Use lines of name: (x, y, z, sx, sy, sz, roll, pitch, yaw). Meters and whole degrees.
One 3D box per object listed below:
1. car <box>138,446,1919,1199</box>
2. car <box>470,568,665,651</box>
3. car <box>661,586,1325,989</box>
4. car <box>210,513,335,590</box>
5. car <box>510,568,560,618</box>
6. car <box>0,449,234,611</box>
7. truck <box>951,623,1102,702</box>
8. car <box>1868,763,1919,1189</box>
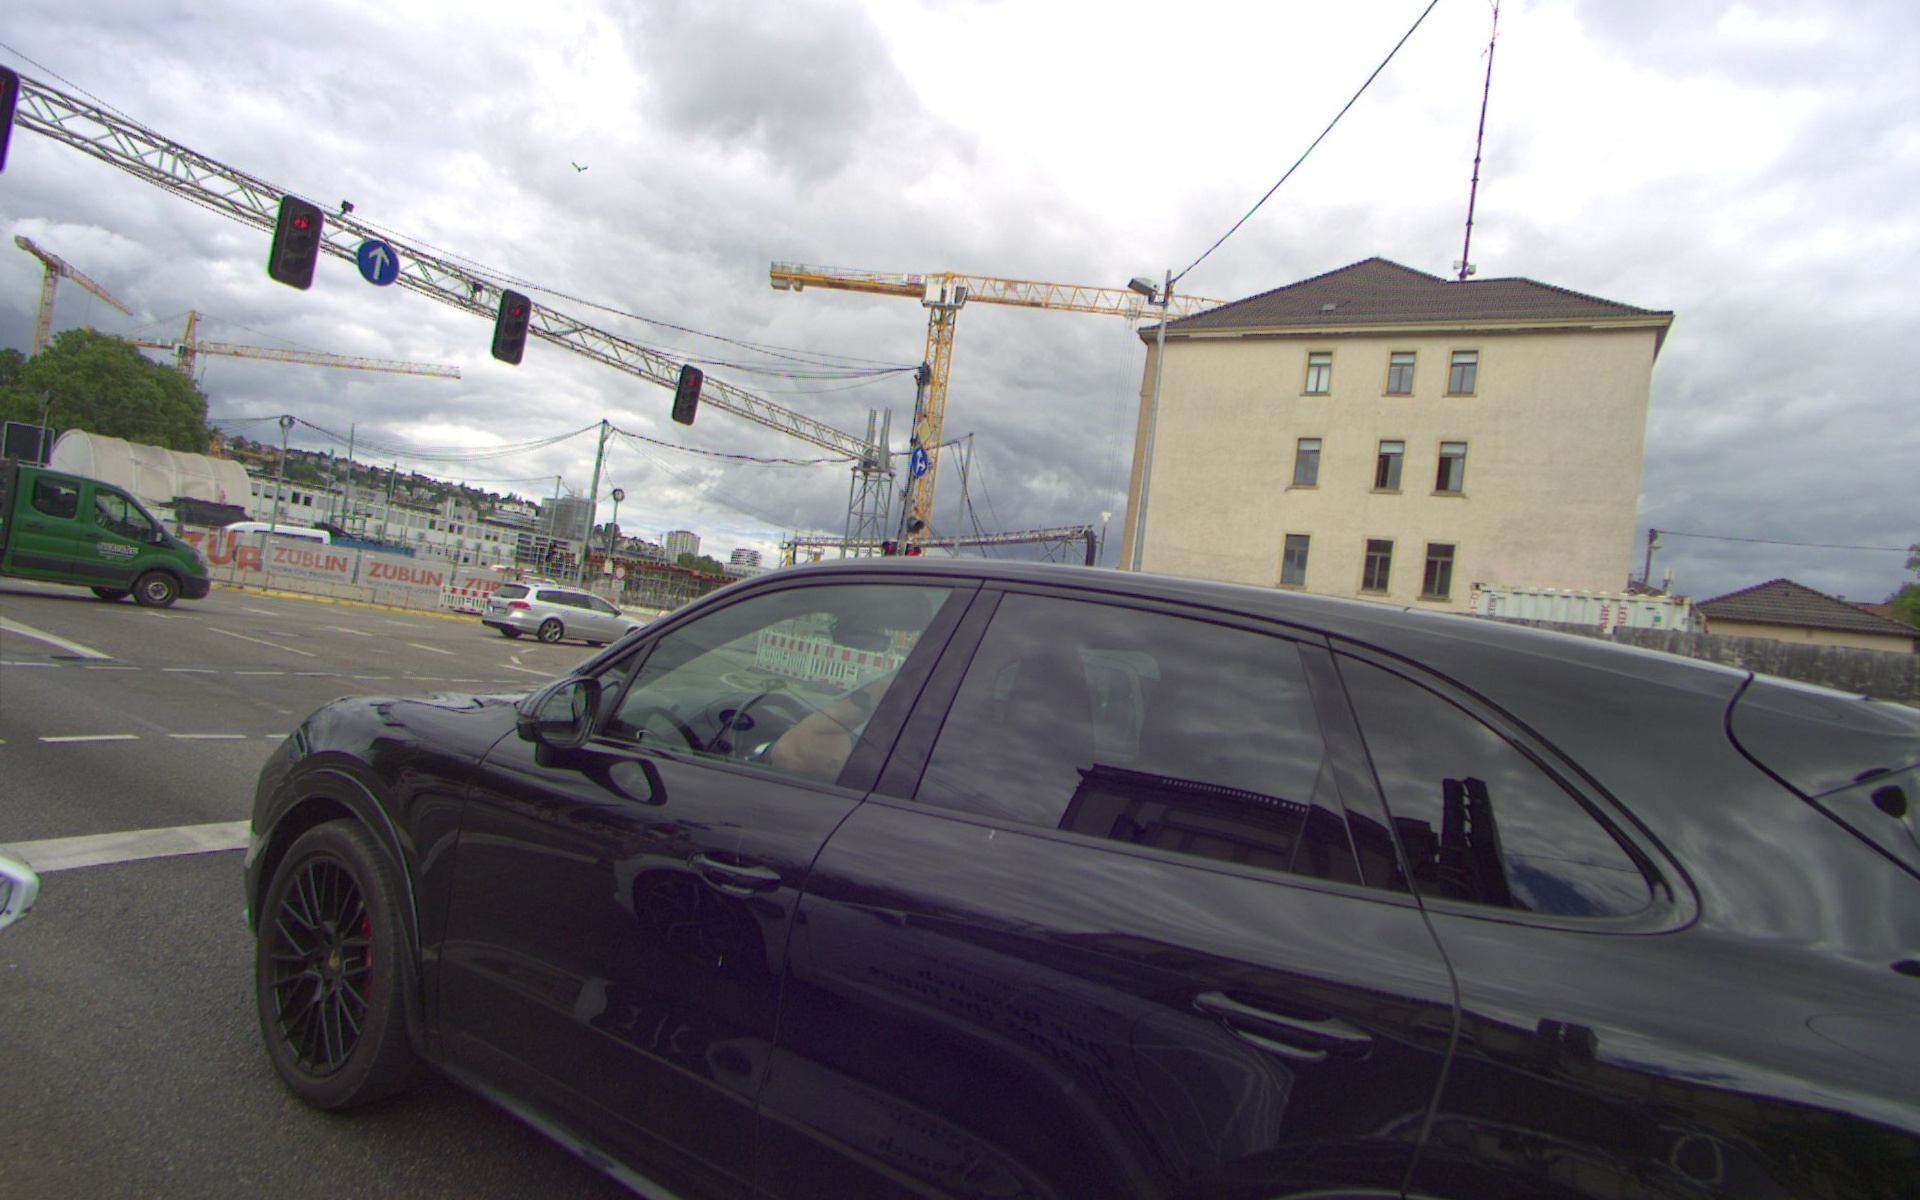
car: (-0.044, 0.687, 2.661, 4.410, 1.735, 1.828, 6, -2, 32)
car: (-10.380, 0.322, 26.984, 1.653, 1.643, 4.720, 6, -2, 31)
car: (0.119, 0.984, 6.659, 3.934, 1.644, 1.679, 6, -2, 32)
car: (-29.572, -2.046, 43.361, 1.660, 2.692, 3.979, 6, -2, 45)
car: (-19.163, -0.326, 45.291, 1.757, 1.976, 3.108, 8, -2, -25)
car: (-16.340, -1.333, 17.210, 2.263, 2.331, 5.776, 7, -2, 27)
truck: (3.378, 3.082, 47.886, 2.586, 2.835, 8.992, 7, -3, 35)
car: (5.771, 1.686, 2.566, 4.729, 1.644, 1.828, 6, -2, 32)
